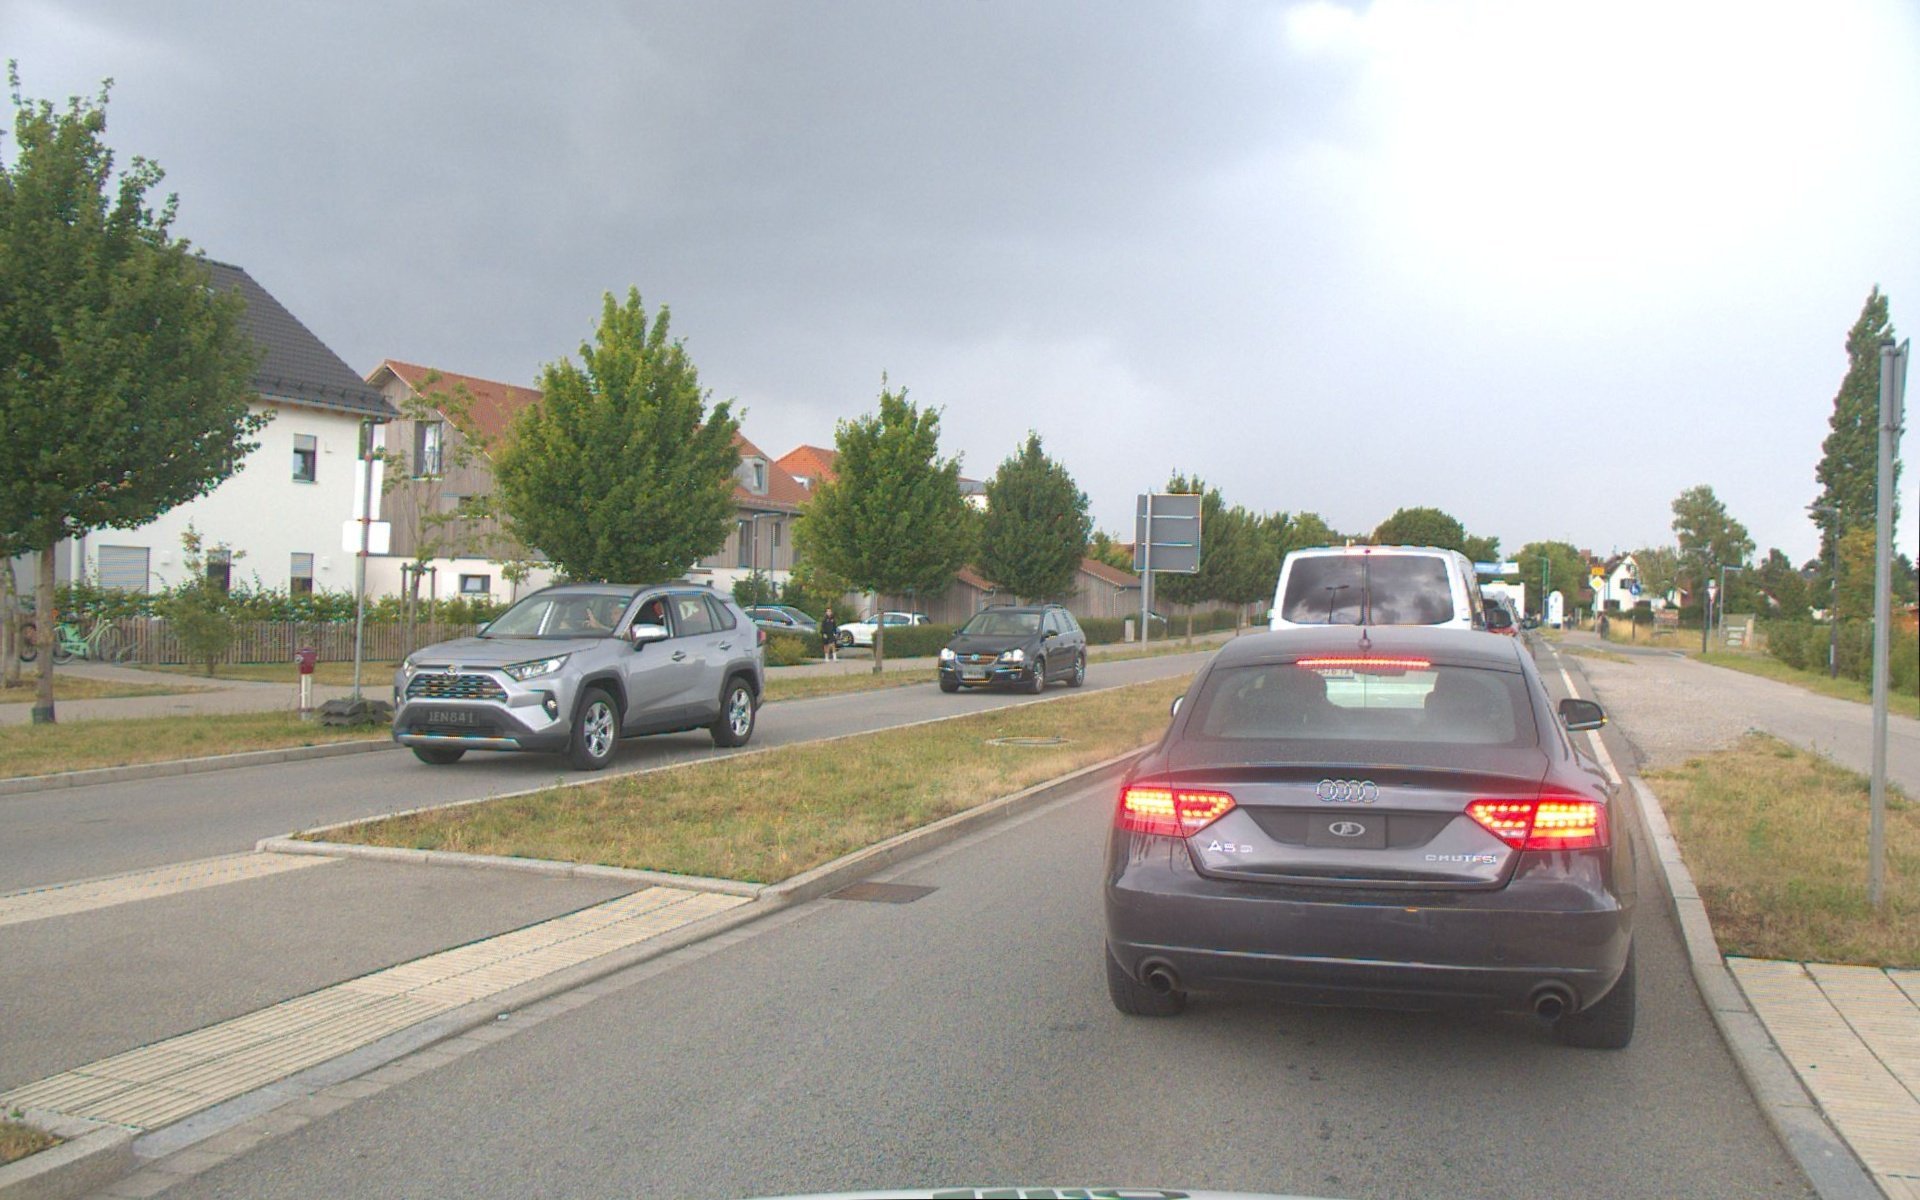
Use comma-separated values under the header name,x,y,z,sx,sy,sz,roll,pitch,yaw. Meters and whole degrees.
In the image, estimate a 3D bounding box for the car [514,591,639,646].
name,x,y,z,sx,sy,sz,roll,pitch,yaw
car,-13.483,0.657,58.429,1.954,1.803,4.463,1,0,24

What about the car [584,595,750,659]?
name,x,y,z,sx,sy,sz,roll,pitch,yaw
car,-8.680,0.781,49.039,4.438,1.709,2.000,2,0,23

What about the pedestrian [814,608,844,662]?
name,x,y,z,sx,sy,sz,roll,pitch,yaw
pedestrian,-3.913,1.033,49.475,0.645,1.586,0.582,1,0,29

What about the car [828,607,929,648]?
name,x,y,z,sx,sy,sz,roll,pitch,yaw
car,-3.270,1.088,66.216,3.651,1.508,1.687,2,0,16

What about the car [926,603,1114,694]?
name,x,y,z,sx,sy,sz,roll,pitch,yaw
car,1.145,0.777,28.892,1.718,1.441,4.453,1,0,25

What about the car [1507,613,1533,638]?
name,x,y,z,sx,sy,sz,roll,pitch,yaw
car,38.366,1.729,113.359,1.580,1.659,3.616,2,0,20

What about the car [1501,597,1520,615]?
name,x,y,z,sx,sy,sz,roll,pitch,yaw
car,72.373,0.757,217.365,1.953,2.250,3.998,2,0,23

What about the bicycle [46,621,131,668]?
name,x,y,z,sx,sy,sz,roll,pitch,yaw
bicycle,-16.608,0.840,31.550,0.360,0.858,1.547,4,1,21

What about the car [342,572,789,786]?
name,x,y,z,sx,sy,sz,roll,pitch,yaw
car,-3.560,0.643,15.968,1.952,1.733,4.635,0,0,20

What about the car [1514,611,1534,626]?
name,x,y,z,sx,sy,sz,roll,pitch,yaw
car,50.914,1.702,149.297,1.580,1.294,3.462,2,0,20

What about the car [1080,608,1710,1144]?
name,x,y,z,sx,sy,sz,roll,pitch,yaw
car,1.816,0.774,6.810,1.746,1.416,4.135,2,0,17

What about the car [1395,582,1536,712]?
name,x,y,z,sx,sy,sz,roll,pitch,yaw
car,7.304,0.619,23.711,1.740,1.646,4.001,2,0,19

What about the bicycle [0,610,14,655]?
name,x,y,z,sx,sy,sz,roll,pitch,yaw
bicycle,-19.216,0.642,32.278,0.360,0.858,1.337,4,1,21

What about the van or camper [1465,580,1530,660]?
name,x,y,z,sx,sy,sz,roll,pitch,yaw
van or camper,24.414,0.928,75.072,2.570,3.382,6.823,2,-1,19

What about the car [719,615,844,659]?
name,x,y,z,sx,sy,sz,roll,pitch,yaw
car,-6.141,1.246,57.012,3.832,1.338,1.843,2,0,17

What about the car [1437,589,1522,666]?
name,x,y,z,sx,sy,sz,roll,pitch,yaw
car,11.979,0.622,38.002,1.739,1.646,4.001,1,-1,19

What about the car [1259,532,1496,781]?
name,x,y,z,sx,sy,sz,roll,pitch,yaw
car,4.006,0.446,15.632,1.828,1.967,4.002,3,1,16
